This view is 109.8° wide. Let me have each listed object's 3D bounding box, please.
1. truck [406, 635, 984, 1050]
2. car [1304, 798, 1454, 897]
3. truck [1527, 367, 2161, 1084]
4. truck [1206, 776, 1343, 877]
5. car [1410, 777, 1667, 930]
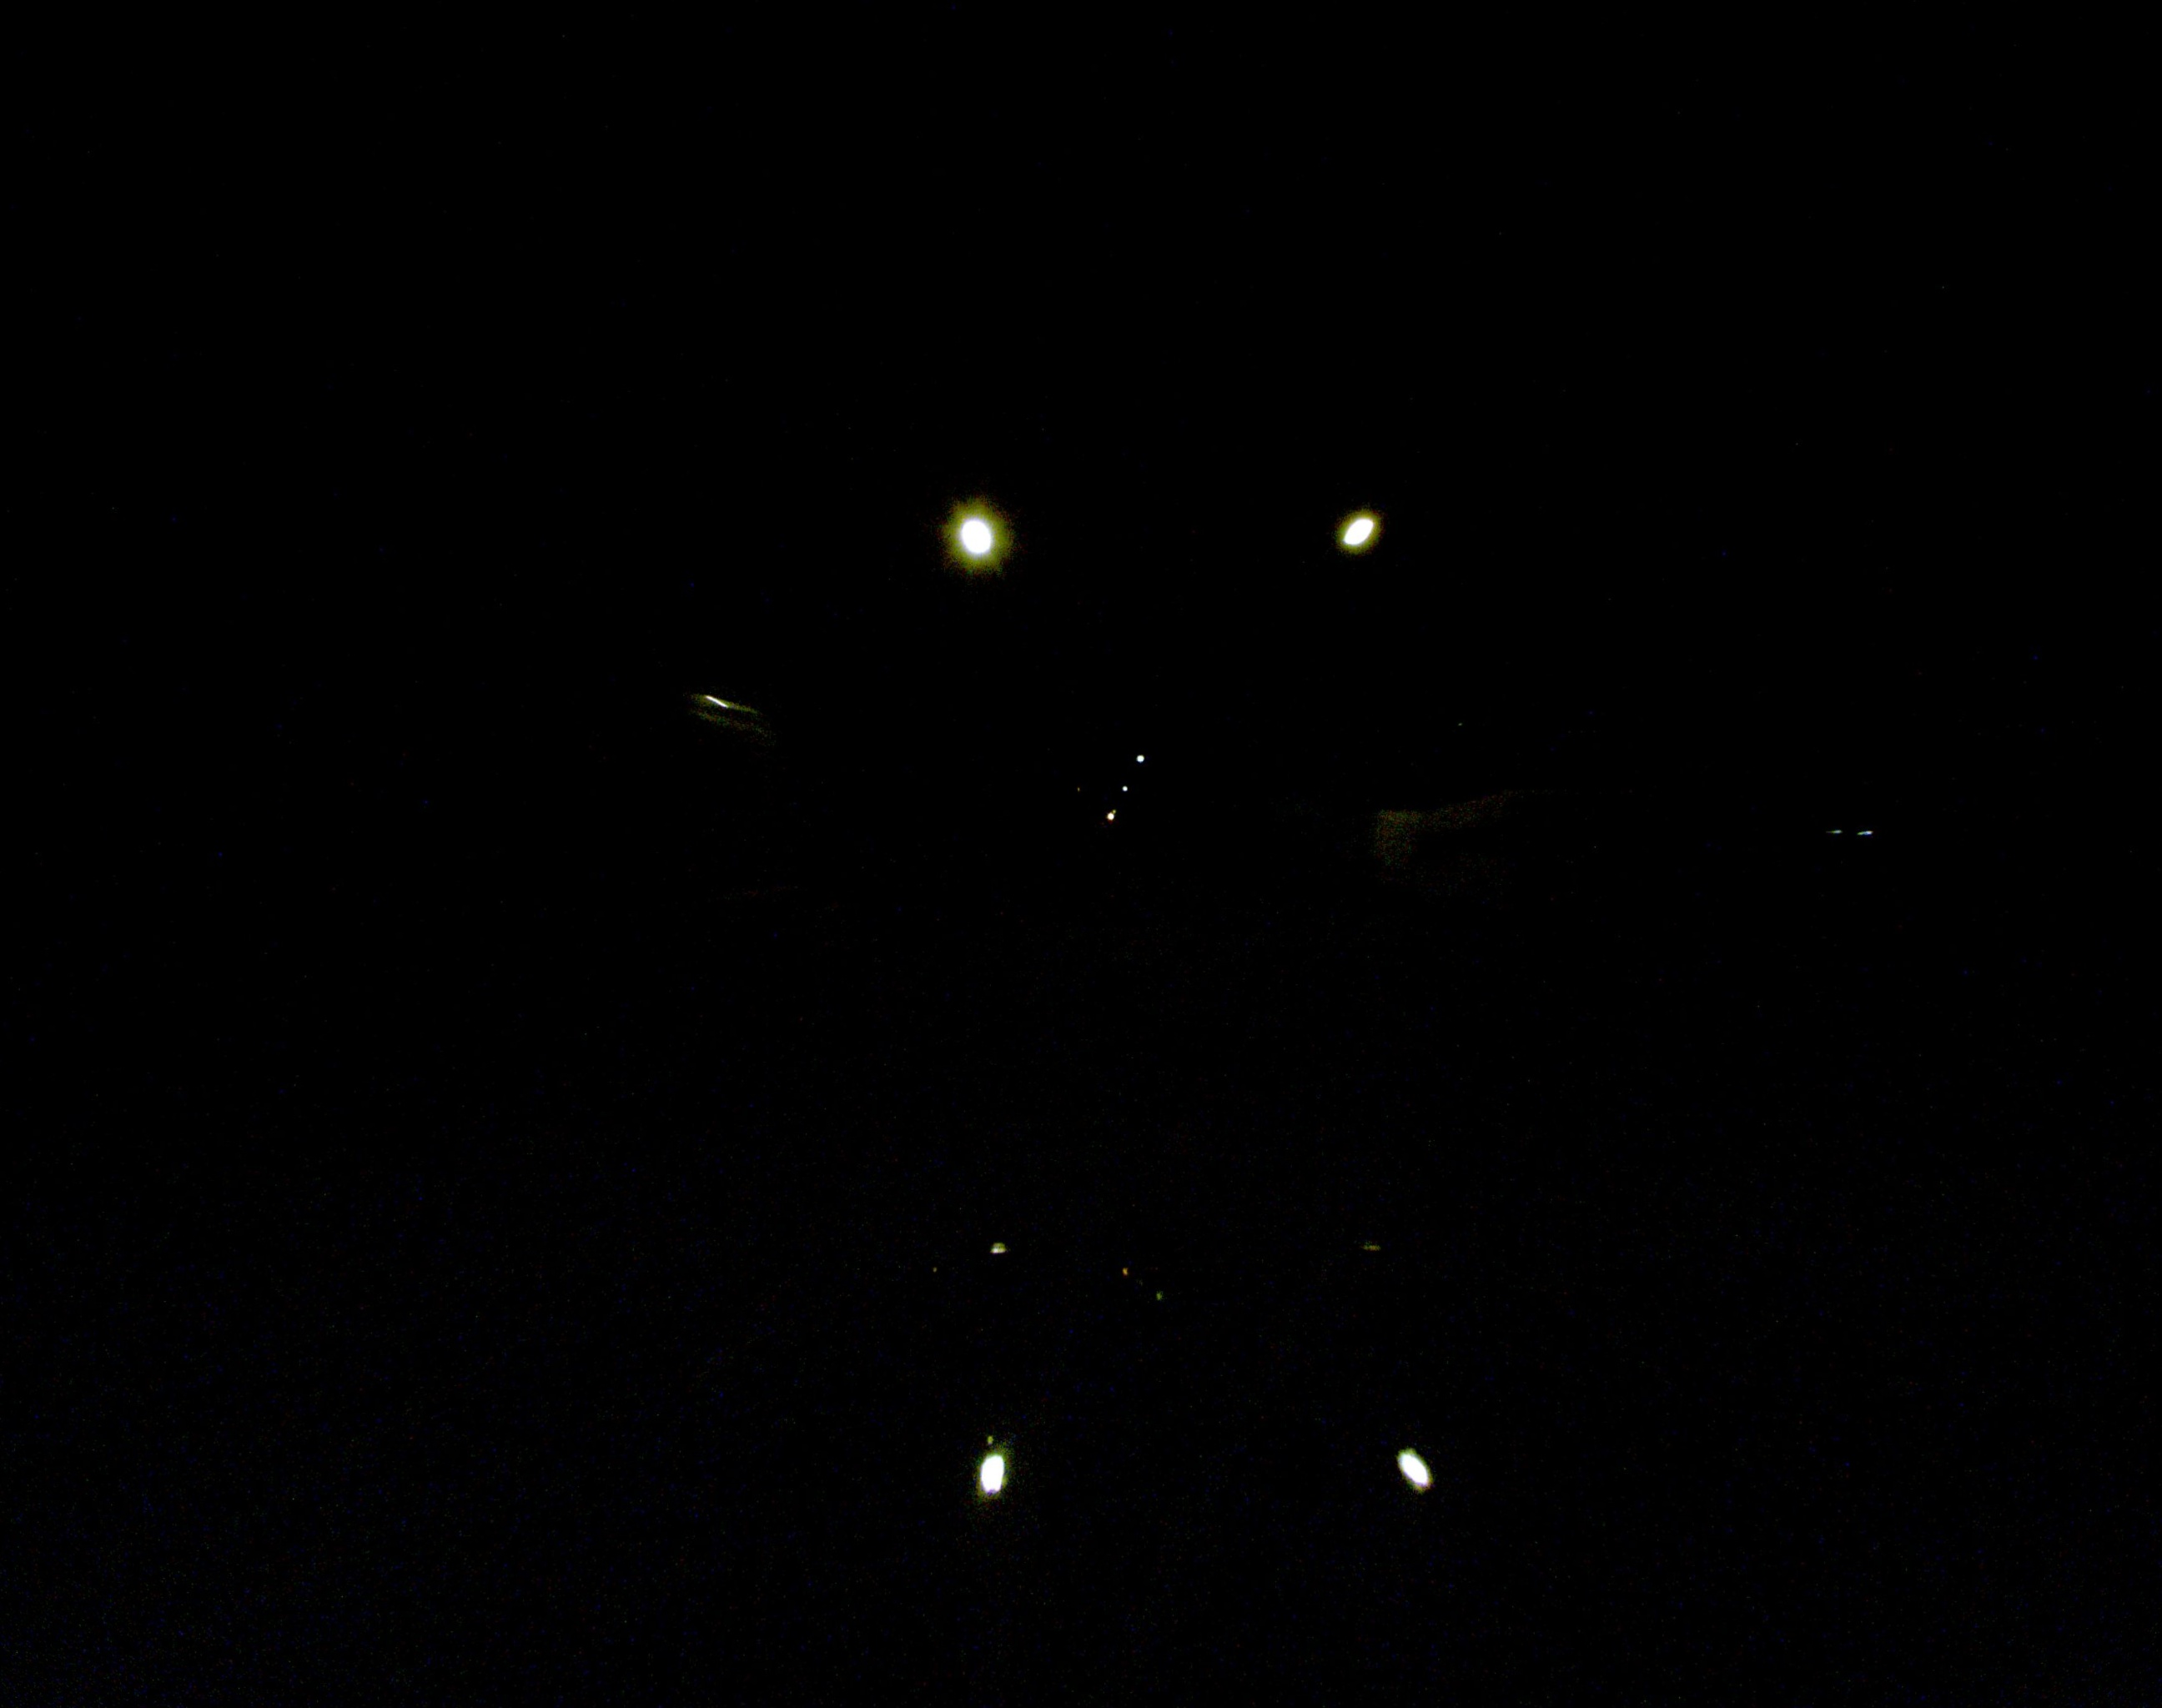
[{"bbox_3d":[-4.463,-0.158,13.445,2.515,3.815,12.661,-2,1,6],"label":"truck"},{"bbox_3d":[8.401,-0.201,22.112,1.999,2.429,5.743,-2,1,0],"label":"car"},{"bbox_3d":[7.821,-0.782,5.110,2.644,4.290,12.822,0,2,3],"label":"truck"},{"bbox_3d":[7.985,-1.057,33.210,2.829,3.611,10.397,-2,1,-2],"label":"truck"},{"bbox_3d":[8.049,-0.029,13.999,2.145,2.299,4.468,-2,1,2],"label":"car"}]
